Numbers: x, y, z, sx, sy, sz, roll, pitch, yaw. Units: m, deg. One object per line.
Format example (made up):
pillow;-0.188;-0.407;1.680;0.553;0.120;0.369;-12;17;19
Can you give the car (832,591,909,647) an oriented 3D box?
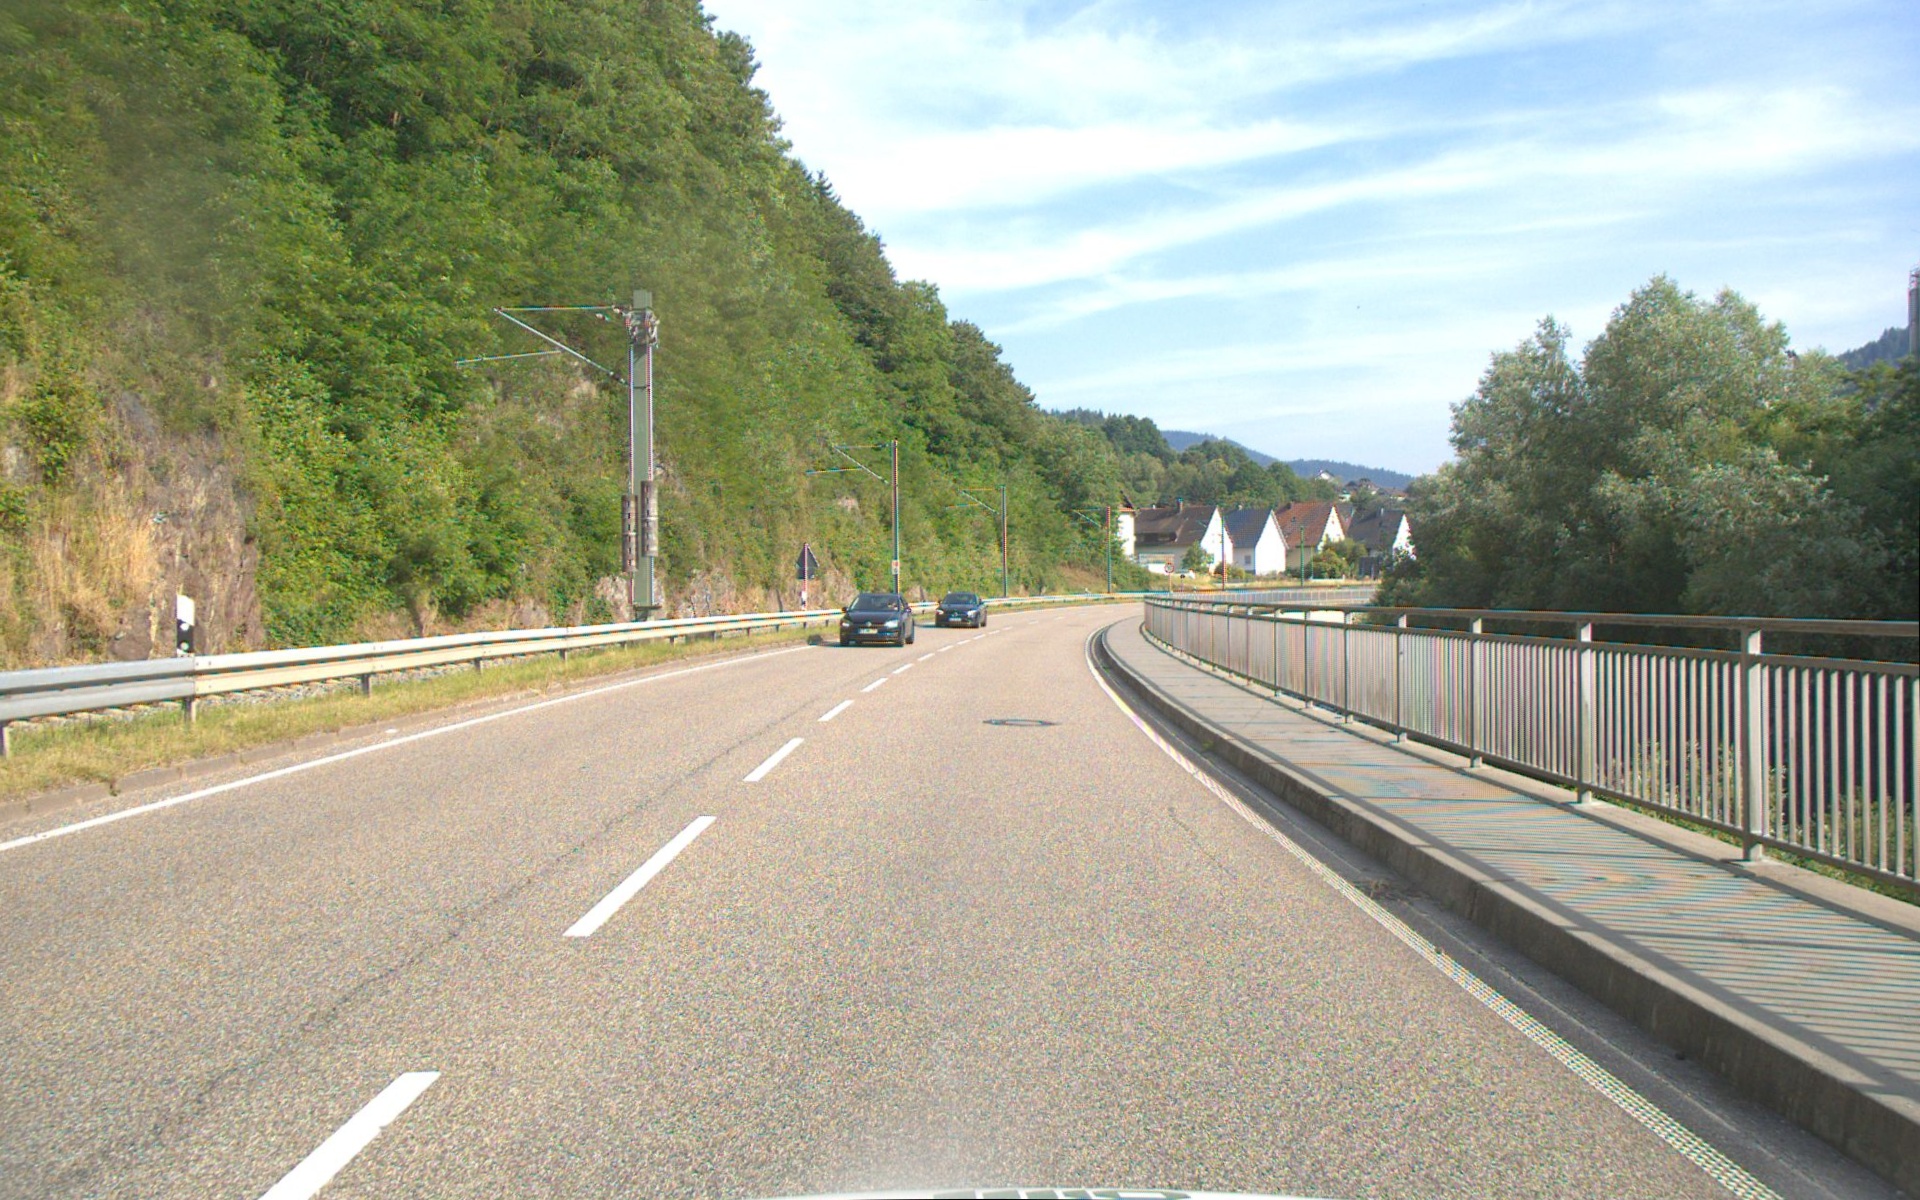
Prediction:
car;-2.453;0.495;46.181;1.809;1.465;3.898;1;0;2

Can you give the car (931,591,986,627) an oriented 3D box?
car;-0.039;0.359;68.804;1.808;1.426;4.479;0;0;6
